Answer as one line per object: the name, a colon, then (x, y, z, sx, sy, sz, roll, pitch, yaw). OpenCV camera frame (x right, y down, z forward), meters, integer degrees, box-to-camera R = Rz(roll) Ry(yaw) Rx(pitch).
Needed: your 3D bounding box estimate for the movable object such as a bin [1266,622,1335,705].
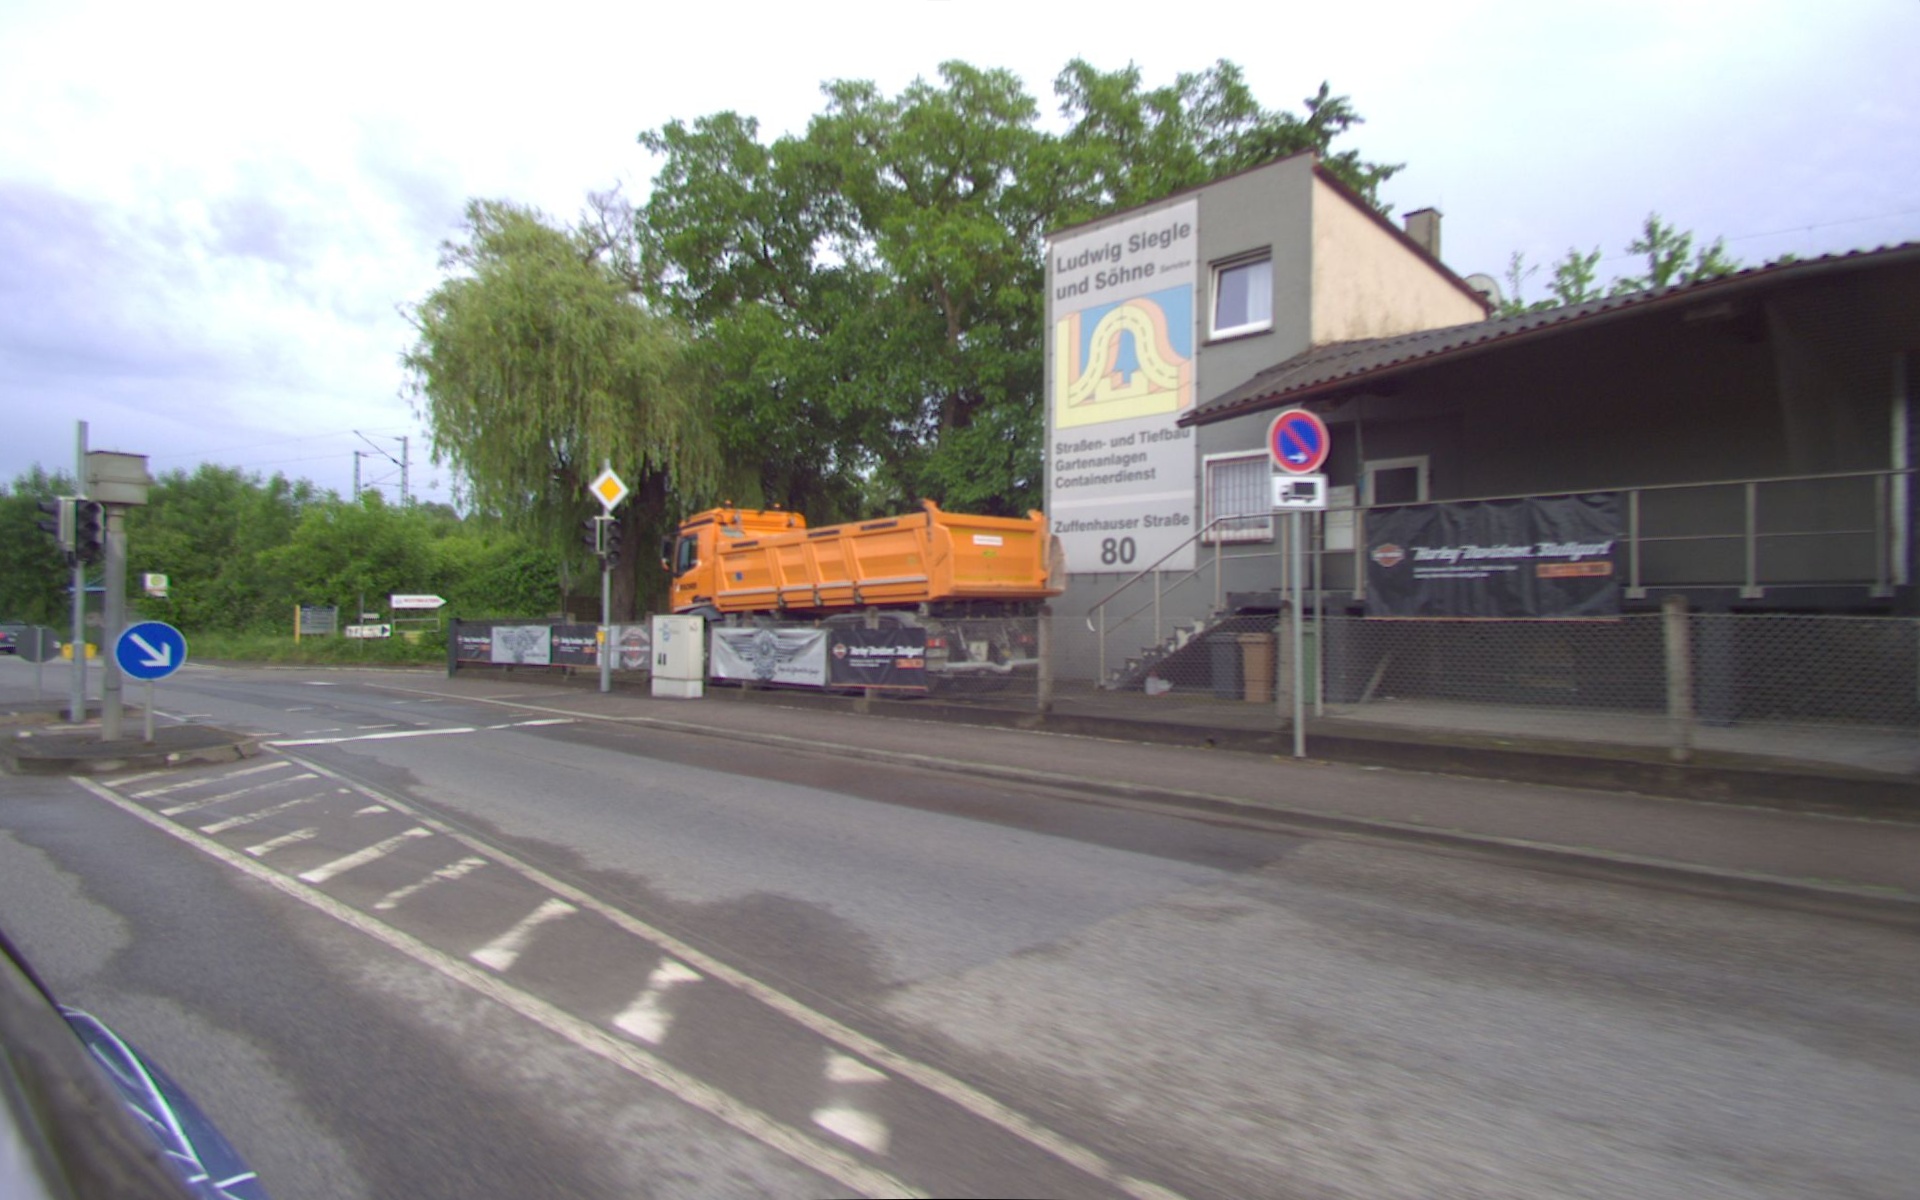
movable object such as a bin: (4.565, 0.837, 13.550, 0.624, 1.064, 0.755, -2, -2, 42)

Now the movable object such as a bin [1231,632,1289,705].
movable object such as a bin: (4.136, 0.929, 13.925, 0.478, 0.963, 0.755, -2, -2, 42)

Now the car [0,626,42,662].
car: (-43.454, 2.010, 45.421, 4.682, 1.485, 1.980, -2, 0, 30)

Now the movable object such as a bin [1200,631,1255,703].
movable object such as a bin: (3.774, 0.929, 14.278, 0.460, 0.963, 0.741, -2, -2, 42)

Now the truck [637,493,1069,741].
truck: (-2.408, 0.136, 18.216, 2.666, 3.437, 9.078, -2, 2, -44)
